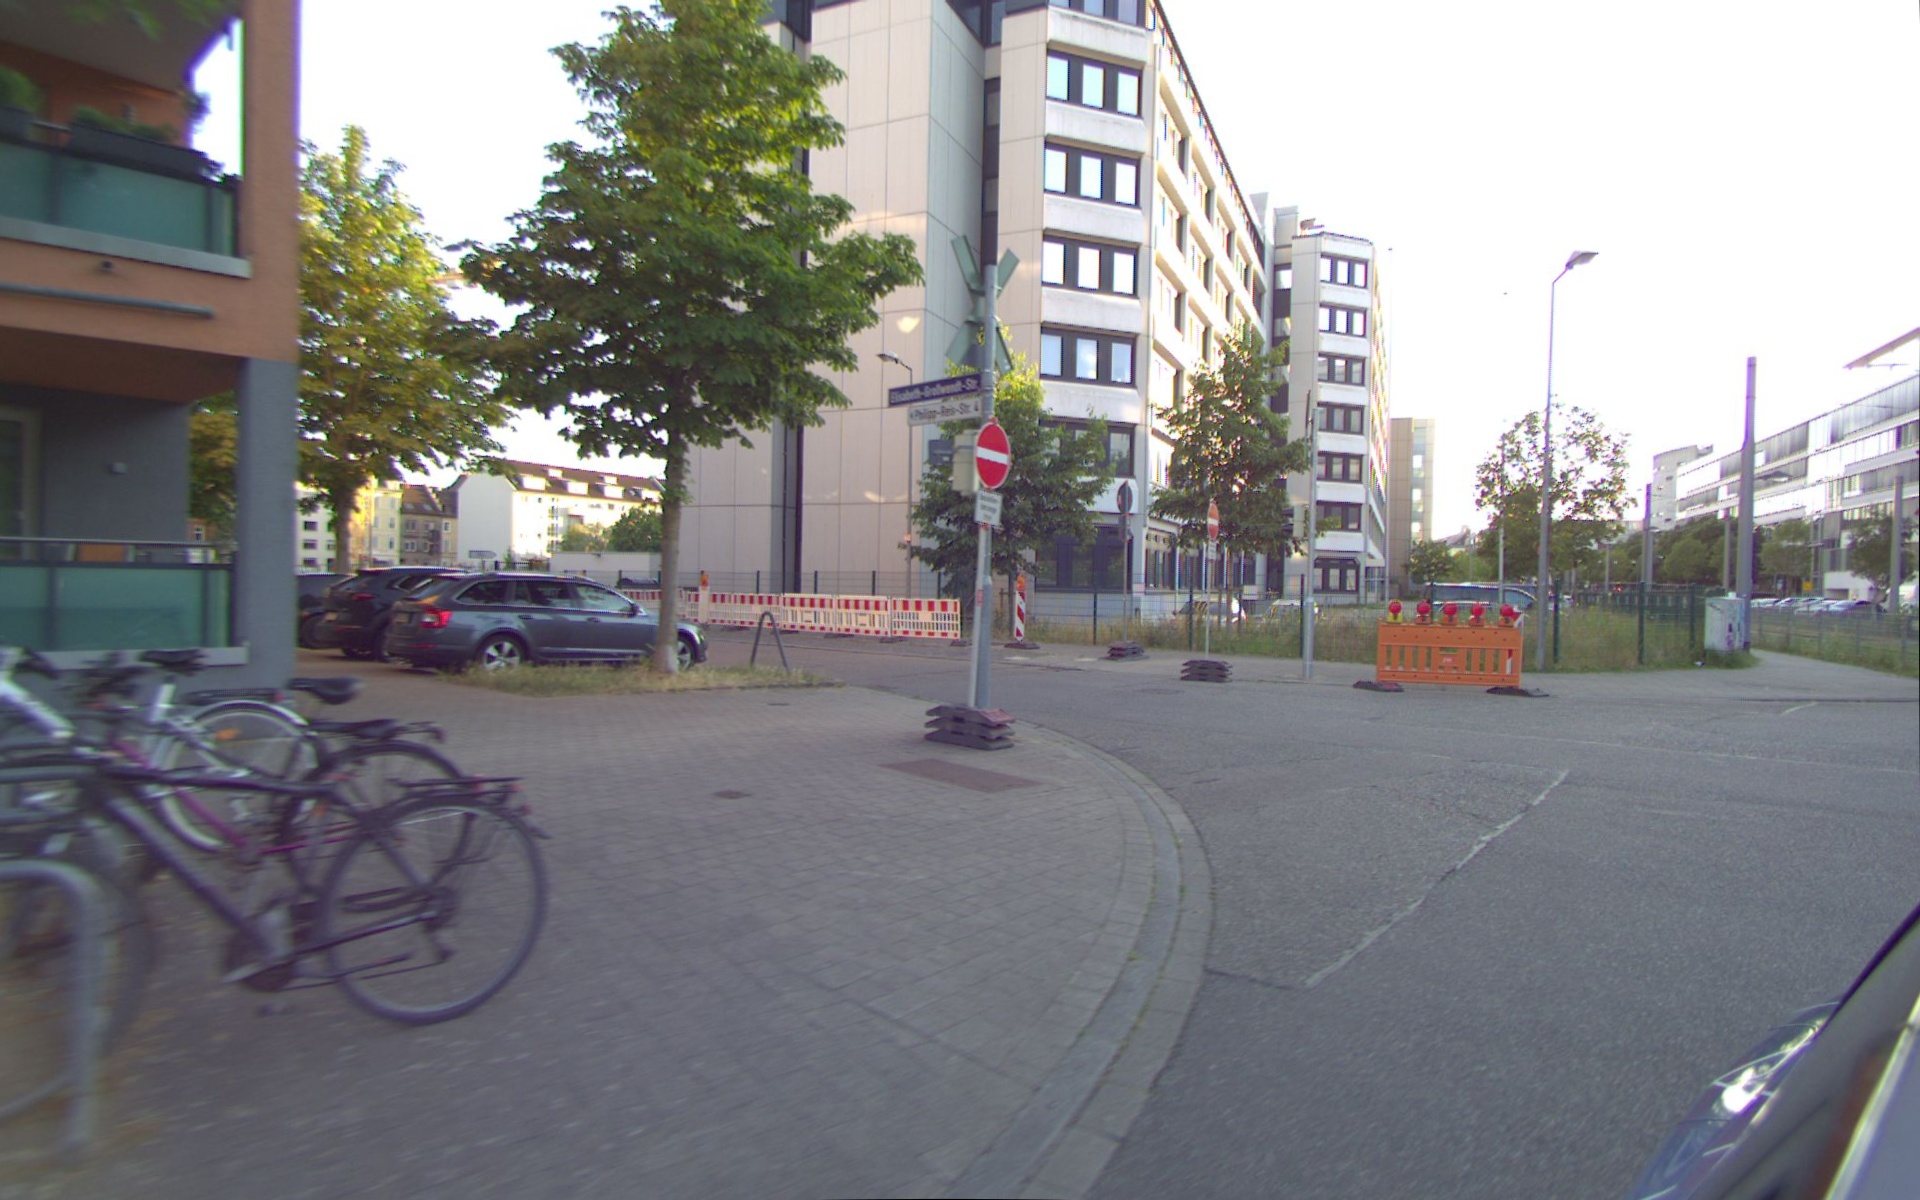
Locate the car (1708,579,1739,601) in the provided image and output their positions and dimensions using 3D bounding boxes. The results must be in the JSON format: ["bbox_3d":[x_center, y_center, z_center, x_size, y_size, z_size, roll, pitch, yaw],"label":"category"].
[{"bbox_3d":[91.551,-1.208,121.398,1.978,2.617,3.969,1,1,23],"label":"car"}]

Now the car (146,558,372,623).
[{"bbox_3d":[-19.070,-0.278,27.739,1.990,1.614,4.747,2,2,39],"label":"car"}]

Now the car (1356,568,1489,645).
[{"bbox_3d":[13.267,0.150,28.954,3.929,2.039,1.997,0,1,-41],"label":"car"}]

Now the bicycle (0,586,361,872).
[{"bbox_3d":[-3.796,0.521,4.428,1.928,1.141,0.530,2,-1,-42],"label":"bicycle"}]

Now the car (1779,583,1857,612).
[{"bbox_3d":[56.261,-0.159,66.375,3.917,1.778,1.721,1,1,-10],"label":"car"}]

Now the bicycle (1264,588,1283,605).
[{"bbox_3d":[18.372,-0.199,59.272,0.806,0.962,2.196,2,1,24],"label":"bicycle"}]

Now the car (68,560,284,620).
[{"bbox_3d":[-23.031,-0.312,29.908,1.990,1.614,4.747,2,2,39],"label":"car"}]

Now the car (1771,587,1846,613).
[{"bbox_3d":[57.683,-0.005,68.829,3.917,1.664,1.721,1,1,-10],"label":"car"}]

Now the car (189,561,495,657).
[{"bbox_3d":[-11.897,0.117,19.762,1.992,1.614,4.743,3,2,41],"label":"car"}]

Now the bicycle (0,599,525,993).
[{"bbox_3d":[-2.718,0.618,3.728,1.894,1.166,0.680,2,2,-42],"label":"bicycle"}]

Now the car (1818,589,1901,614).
[{"bbox_3d":[53.969,0.064,60.715,3.916,1.393,1.721,1,1,-13],"label":"car"}]

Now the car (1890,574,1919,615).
[{"bbox_3d":[70.992,-0.382,74.433,1.986,2.911,6.200,3,2,25],"label":"car"}]

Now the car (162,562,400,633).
[{"bbox_3d":[-17.378,-0.099,26.106,1.990,1.614,4.747,2,2,39],"label":"car"}]

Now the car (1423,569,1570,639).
[{"bbox_3d":[16.851,0.073,31.914,3.965,2.039,1.980,2,1,29],"label":"car"}]

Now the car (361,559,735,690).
[{"bbox_3d":[-5.866,0.268,14.919,1.992,1.614,4.743,1,1,41],"label":"car"}]

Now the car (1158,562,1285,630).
[{"bbox_3d":[8.359,-0.138,32.218,3.929,2.039,1.997,0,1,-41],"label":"car"}]

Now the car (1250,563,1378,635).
[{"bbox_3d":[10.856,-0.054,30.943,3.929,2.039,1.997,0,1,-41],"label":"car"}]

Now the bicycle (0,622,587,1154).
[{"bbox_3d":[-2.146,0.676,2.895,0.716,1.167,1.870,4,1,40],"label":"bicycle"}]

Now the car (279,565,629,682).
[{"bbox_3d":[-8.099,0.290,16.569,1.992,1.614,4.743,2,2,41],"label":"car"}]

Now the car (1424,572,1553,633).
[{"bbox_3d":[19.020,0.044,36.526,3.965,2.039,1.980,2,1,29],"label":"car"}]

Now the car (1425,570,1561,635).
[{"bbox_3d":[18.128,0.036,34.518,3.965,2.039,1.980,2,1,29],"label":"car"}]

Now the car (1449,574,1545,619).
[{"bbox_3d":[25.482,-0.206,48.191,3.961,2.039,1.982,1,1,27],"label":"car"}]

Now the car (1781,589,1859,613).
[{"bbox_3d":[54.295,0.064,63.900,3.916,1.393,1.721,1,1,-13],"label":"car"}]

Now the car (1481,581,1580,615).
[{"bbox_3d":[29.571,-0.133,52.615,4.363,1.613,1.801,1,1,27],"label":"car"}]
